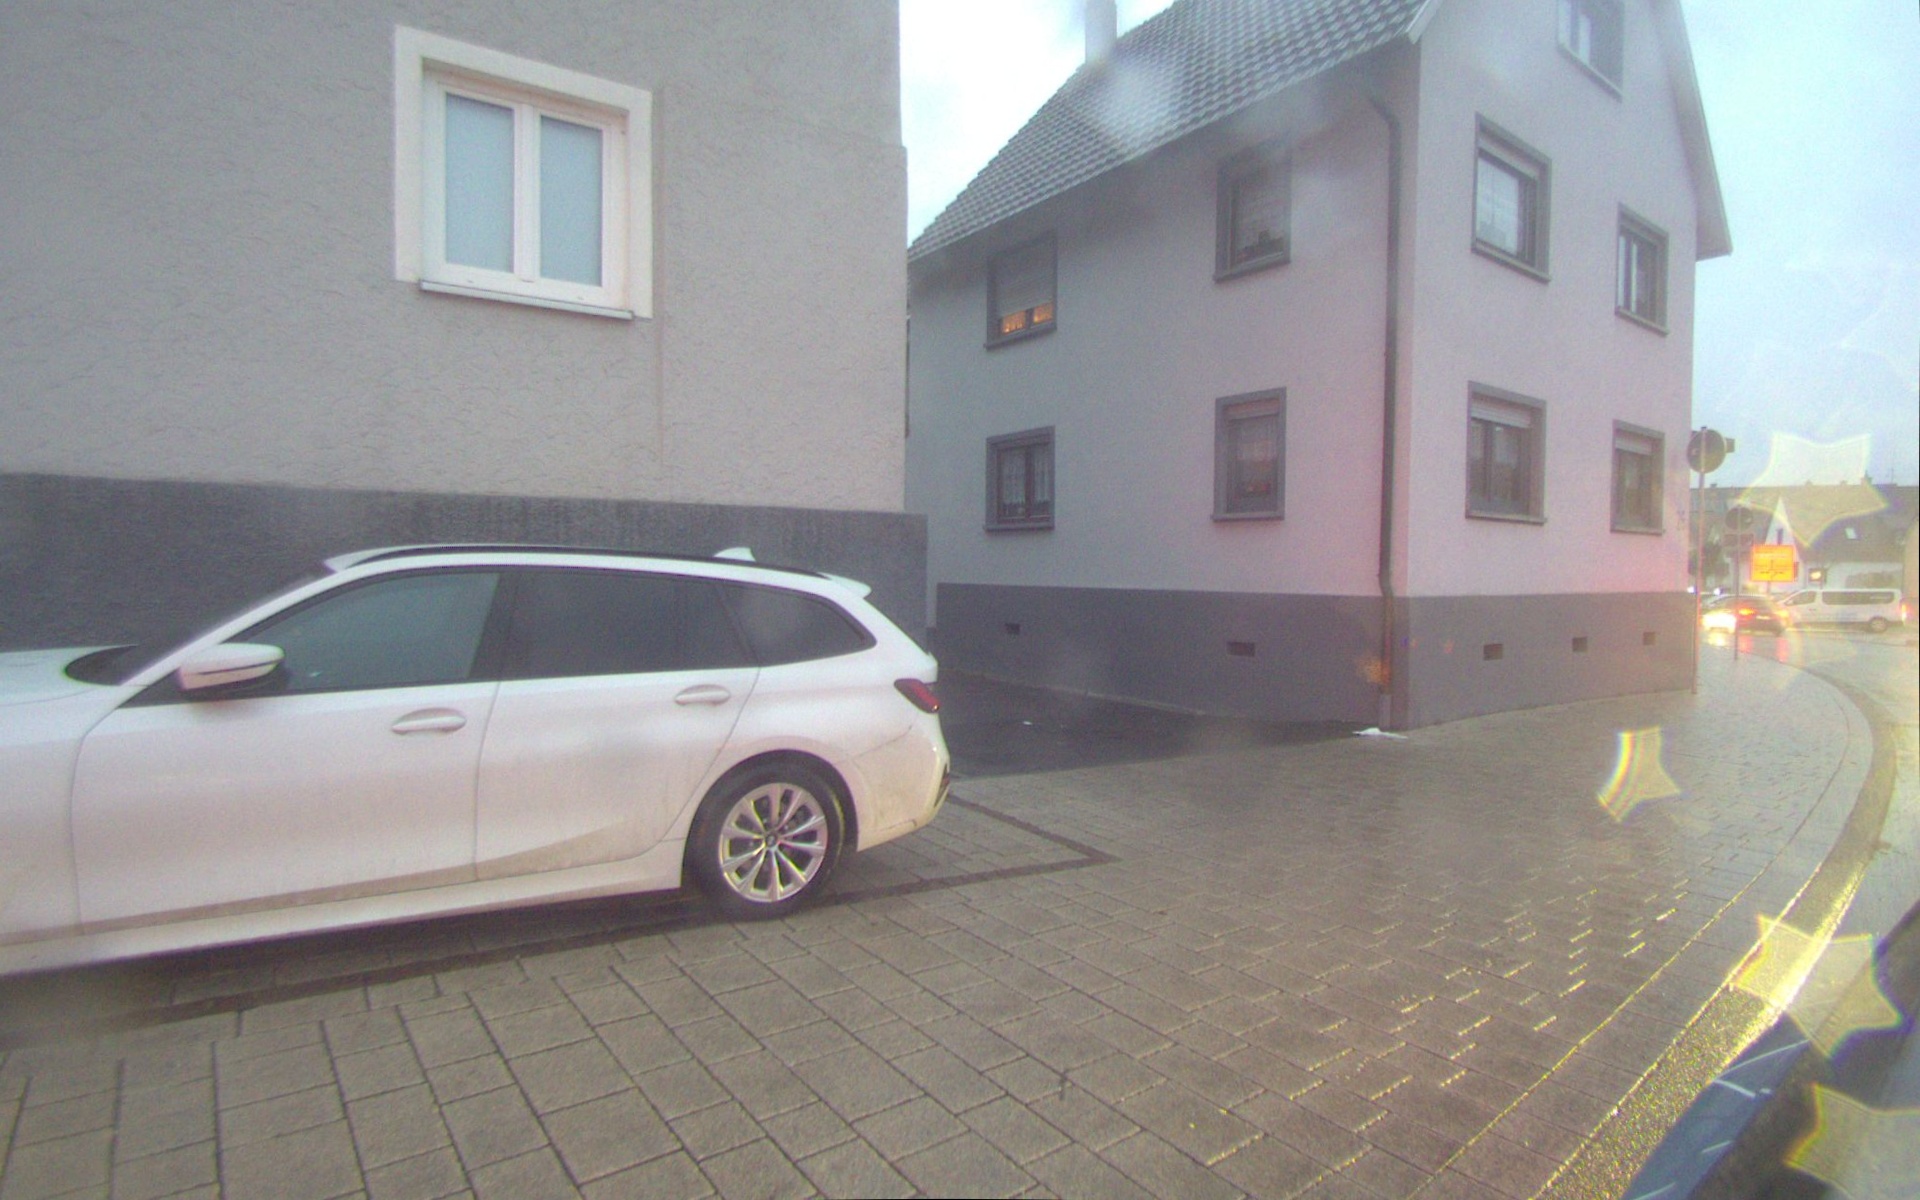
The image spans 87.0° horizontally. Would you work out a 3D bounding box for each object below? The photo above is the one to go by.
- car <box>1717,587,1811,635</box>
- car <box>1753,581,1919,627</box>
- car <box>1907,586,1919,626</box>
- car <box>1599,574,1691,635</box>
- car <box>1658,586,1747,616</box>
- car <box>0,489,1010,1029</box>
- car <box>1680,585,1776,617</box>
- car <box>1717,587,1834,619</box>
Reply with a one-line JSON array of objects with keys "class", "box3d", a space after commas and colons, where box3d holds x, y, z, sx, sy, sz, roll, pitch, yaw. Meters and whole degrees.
[{"class": "car", "box3d": [34.466, 0.407, 43.515, 2.126, 1.884, 4.701, 0, 1, 25]}, {"class": "car", "box3d": [39.947, 0.172, 46.194, 5.737, 1.971, 1.967, 0, 0, 33]}, {"class": "car", "box3d": [41.513, 0.301, 40.747, 4.393, 1.652, 2.142, 1, 1, 20]}, {"class": "car", "box3d": [24.623, 0.131, 36.560, 1.959, 1.984, 4.810, 2, 1, 25]}, {"class": "car", "box3d": [49.476, 0.055, 67.539, 4.370, 1.824, 1.833, 2, 1, 19]}, {"class": "car", "box3d": [-2.188, 0.405, 4.140, 4.452, 1.484, 1.892, 1, 2, -31]}, {"class": "car", "box3d": [49.106, 0.043, 64.830, 4.459, 1.890, 1.857, 2, 1, 19]}, {"class": "car", "box3d": [46.840, 0.162, 58.247, 4.823, 1.705, 1.986, 2, 0, 21]}]
